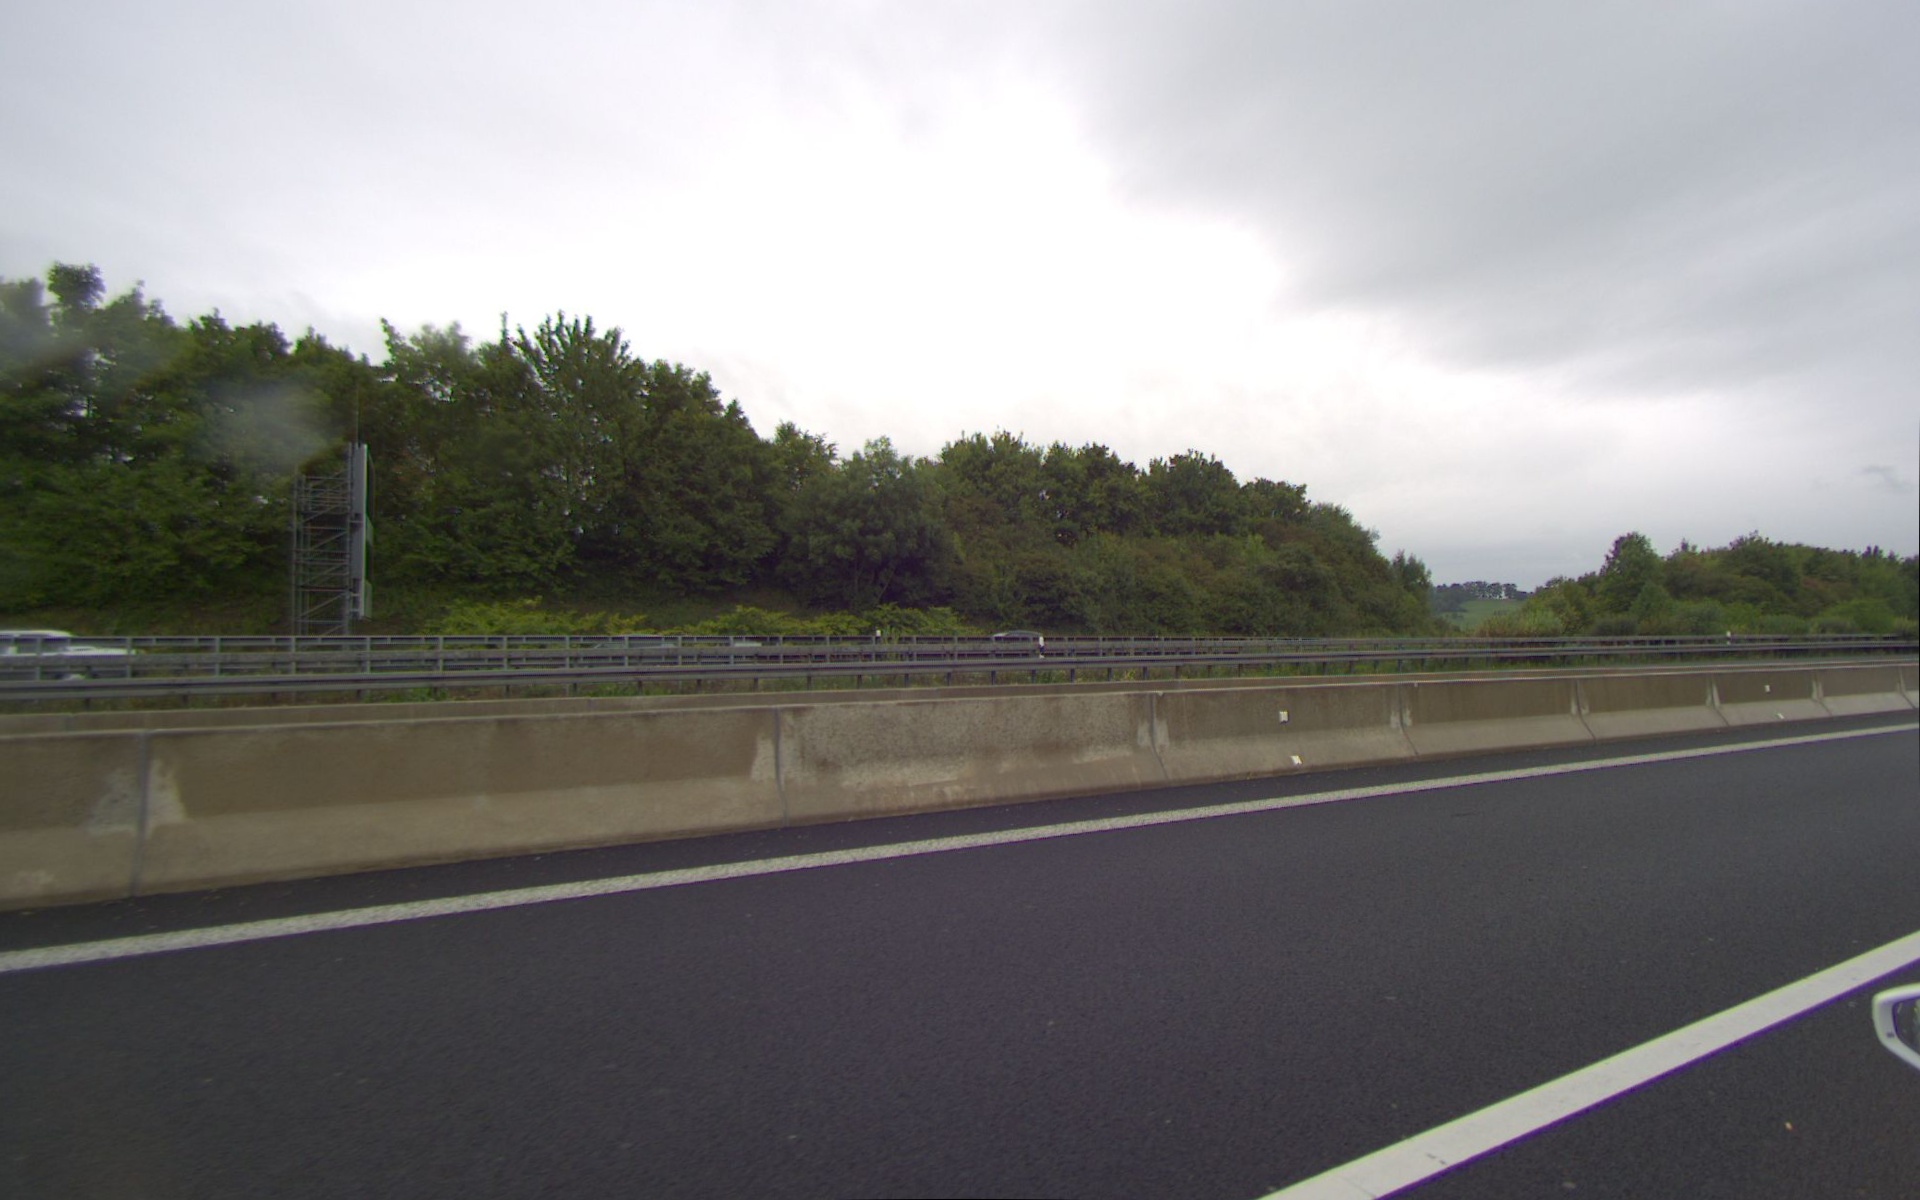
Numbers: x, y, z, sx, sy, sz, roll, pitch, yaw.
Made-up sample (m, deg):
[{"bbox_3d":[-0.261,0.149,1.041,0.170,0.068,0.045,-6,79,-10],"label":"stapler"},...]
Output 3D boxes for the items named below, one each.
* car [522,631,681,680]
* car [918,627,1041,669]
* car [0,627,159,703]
[{"bbox_3d":[-11.873,1.819,33.338,4.723,1.475,1.809,2,-1,-31],"label":"car"},{"bbox_3d":[0.788,1.812,38.325,4.523,1.475,1.806,2,-1,-35],"label":"car"},{"bbox_3d":[-19.426,1.312,20.786,4.222,1.475,1.809,2,-1,-32],"label":"car"}]
